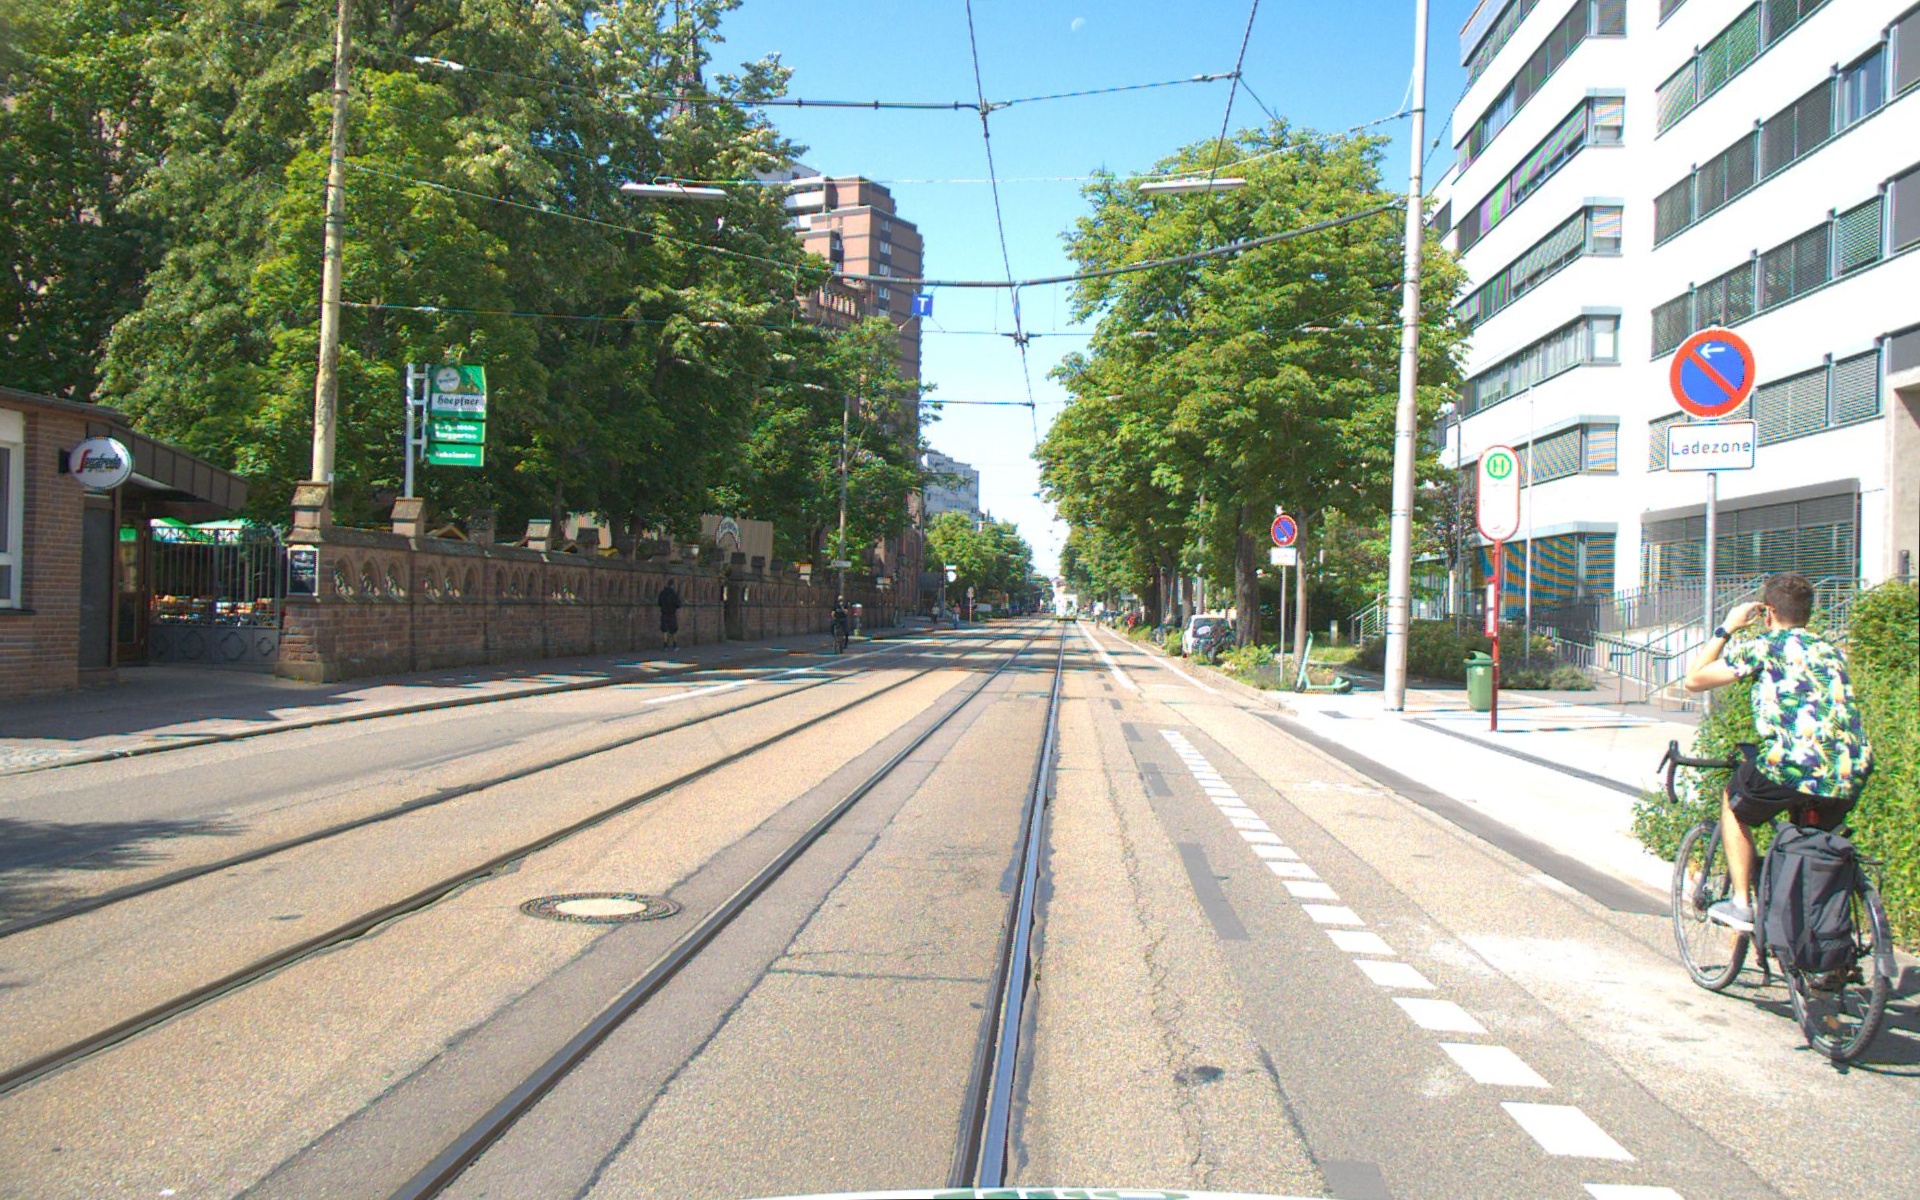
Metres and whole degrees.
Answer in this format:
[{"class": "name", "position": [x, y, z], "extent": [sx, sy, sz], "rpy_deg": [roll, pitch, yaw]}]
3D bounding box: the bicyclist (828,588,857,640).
[{"class": "bicyclist", "position": [-3.618, 0.420, 50.868], "extent": [0.725, 1.557, 0.948], "rpy_deg": [1, -1, 4]}]

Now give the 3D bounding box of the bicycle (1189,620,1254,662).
[{"class": "bicycle", "position": [7.208, 1.138, 45.706], "extent": [1.688, 1.105, 0.789], "rpy_deg": [1, 0, 3]}]

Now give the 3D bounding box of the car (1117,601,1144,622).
[{"class": "car", "position": [12.031, 0.795, 116.759], "extent": [1.596, 1.378, 3.902], "rpy_deg": [1, 0, 2]}]

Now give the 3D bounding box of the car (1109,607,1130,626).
[{"class": "car", "position": [13.355, 1.381, 138.409], "extent": [1.595, 1.498, 4.115], "rpy_deg": [1, 0, 4]}]

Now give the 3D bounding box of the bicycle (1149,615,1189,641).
[{"class": "bicycle", "position": [9.377, 1.255, 74.257], "extent": [1.688, 1.105, 0.697], "rpy_deg": [1, 0, 3]}]

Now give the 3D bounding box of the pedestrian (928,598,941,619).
[{"class": "pedestrian", "position": [-1.942, 0.654, 127.334], "extent": [0.866, 1.538, 1.474], "rpy_deg": [1, 0, -5]}]

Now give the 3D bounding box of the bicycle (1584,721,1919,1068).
[{"class": "bicycle", "position": [3.192, 1.083, 6.702], "extent": [0.596, 1.001, 2.165], "rpy_deg": [2, 0, 3]}]

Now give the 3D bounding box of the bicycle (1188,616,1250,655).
[{"class": "bicycle", "position": [8.050, 1.104, 51.379], "extent": [1.833, 1.161, 0.686], "rpy_deg": [1, 0, 3]}]

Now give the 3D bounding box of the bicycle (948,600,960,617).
[{"class": "bicycle", "position": [-0.383, 0.580, 114.519], "extent": [0.648, 1.174, 2.015], "rpy_deg": [2, 0, 4]}]

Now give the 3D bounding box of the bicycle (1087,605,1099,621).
[{"class": "bicycle", "position": [9.881, 0.930, 122.727], "extent": [0.838, 1.129, 2.140], "rpy_deg": [2, 0, 3]}]

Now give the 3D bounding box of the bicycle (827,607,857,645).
[{"class": "bicycle", "position": [-3.614, 0.779, 50.789], "extent": [0.579, 1.125, 2.055], "rpy_deg": [2, 0, 4]}]

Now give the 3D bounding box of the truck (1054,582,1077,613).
[{"class": "truck", "position": [11.277, -0.239, 176.611], "extent": [2.352, 3.163, 6.040], "rpy_deg": [2, 0, 3]}]

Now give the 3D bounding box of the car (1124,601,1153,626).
[{"class": "car", "position": [11.518, 0.859, 106.906], "extent": [1.596, 1.497, 3.720], "rpy_deg": [2, 0, 2]}]

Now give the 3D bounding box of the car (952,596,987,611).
[{"class": "car", "position": [1.166, 0.460, 208.005], "extent": [3.939, 1.780, 1.983], "rpy_deg": [2, 0, -27]}]

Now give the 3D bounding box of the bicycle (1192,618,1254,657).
[{"class": "bicycle", "position": [8.050, 1.153, 50.699], "extent": [1.810, 1.152, 0.681], "rpy_deg": [1, 0, 3]}]

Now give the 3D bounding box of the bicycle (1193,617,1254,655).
[{"class": "bicycle", "position": [7.993, 1.079, 50.172], "extent": [1.755, 1.105, 0.727], "rpy_deg": [1, 0, 3]}]

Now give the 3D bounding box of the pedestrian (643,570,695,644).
[{"class": "pedestrian", "position": [-7.685, 0.174, 43.702], "extent": [0.956, 1.847, 1.185], "rpy_deg": [5, 0, 4]}]

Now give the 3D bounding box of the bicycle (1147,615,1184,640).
[{"class": "bicycle", "position": [9.509, 1.278, 76.556], "extent": [1.688, 1.105, 0.615], "rpy_deg": [1, 0, 3]}]

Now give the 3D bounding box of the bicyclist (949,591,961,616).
[{"class": "bicyclist", "position": [-0.361, 0.237, 114.589], "extent": [0.710, 1.728, 1.147], "rpy_deg": [1, 0, 3]}]

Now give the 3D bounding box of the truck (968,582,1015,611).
[{"class": "truck", "position": [4.542, -0.482, 236.947], "extent": [2.757, 3.927, 9.992], "rpy_deg": [1, 0, 25]}]

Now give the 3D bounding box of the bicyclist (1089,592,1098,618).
[{"class": "bicyclist", "position": [9.937, 0.383, 122.865], "extent": [0.622, 1.904, 1.025], "rpy_deg": [1, 0, 3]}]

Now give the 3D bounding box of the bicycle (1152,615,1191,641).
[{"class": "bicycle", "position": [9.558, 1.259, 74.899], "extent": [1.688, 1.105, 0.570], "rpy_deg": [1, 0, 3]}]

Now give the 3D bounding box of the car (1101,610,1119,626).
[{"class": "car", "position": [14.168, 1.680, 156.291], "extent": [1.595, 1.498, 4.115], "rpy_deg": [1, 0, 4]}]

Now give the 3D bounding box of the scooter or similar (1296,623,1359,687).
[{"class": "scooter or similar", "position": [7.097, 1.053, 31.962], "extent": [1.102, 1.187, 0.676], "rpy_deg": [1, 0, 6]}]

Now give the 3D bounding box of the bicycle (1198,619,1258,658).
[{"class": "bicycle", "position": [7.970, 1.151, 49.285], "extent": [1.688, 1.105, 0.640], "rpy_deg": [1, 0, 3]}]

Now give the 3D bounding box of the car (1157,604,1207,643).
[{"class": "car", "position": [9.077, 0.947, 67.908], "extent": [1.596, 1.509, 4.274], "rpy_deg": [1, 0, 2]}]

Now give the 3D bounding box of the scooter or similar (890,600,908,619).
[{"class": "scooter or similar", "position": [-3.674, 0.589, 100.112], "extent": [0.328, 1.149, 1.179], "rpy_deg": [1, -1, 42]}]

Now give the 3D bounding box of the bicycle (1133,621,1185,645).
[{"class": "bicycle", "position": [11.753, 1.944, 97.722], "extent": [2.964, 1.355, 1.042], "rpy_deg": [1, 0, 7]}]

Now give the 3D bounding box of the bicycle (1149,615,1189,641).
[{"class": "bicycle", "position": [9.295, 1.258, 73.603], "extent": [1.688, 1.105, 0.629], "rpy_deg": [1, 0, 3]}]

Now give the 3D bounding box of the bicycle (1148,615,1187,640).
[{"class": "bicycle", "position": [9.467, 1.255, 75.495], "extent": [1.688, 1.105, 0.589], "rpy_deg": [1, 0, 3]}]

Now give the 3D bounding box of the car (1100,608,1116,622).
[{"class": "car", "position": [16.245, 1.625, 181.843], "extent": [1.595, 1.498, 4.115], "rpy_deg": [1, 0, 4]}]

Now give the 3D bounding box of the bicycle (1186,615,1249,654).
[{"class": "bicycle", "position": [8.096, 1.085, 52.025], "extent": [1.864, 1.190, 0.819], "rpy_deg": [1, 0, 3]}]

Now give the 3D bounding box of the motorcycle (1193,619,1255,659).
[{"class": "motorcycle", "position": [7.642, 1.132, 47.900], "extent": [1.688, 1.105, 0.659], "rpy_deg": [1, 0, 3]}]

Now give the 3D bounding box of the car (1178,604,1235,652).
[{"class": "car", "position": [8.300, 0.909, 55.899], "extent": [1.595, 1.497, 3.632], "rpy_deg": [2, 0, 5]}]

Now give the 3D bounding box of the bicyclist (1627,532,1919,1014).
[{"class": "bicyclist", "position": [3.213, 0.634, 6.594], "extent": [0.701, 1.754, 0.988], "rpy_deg": [2, 0, 2]}]
